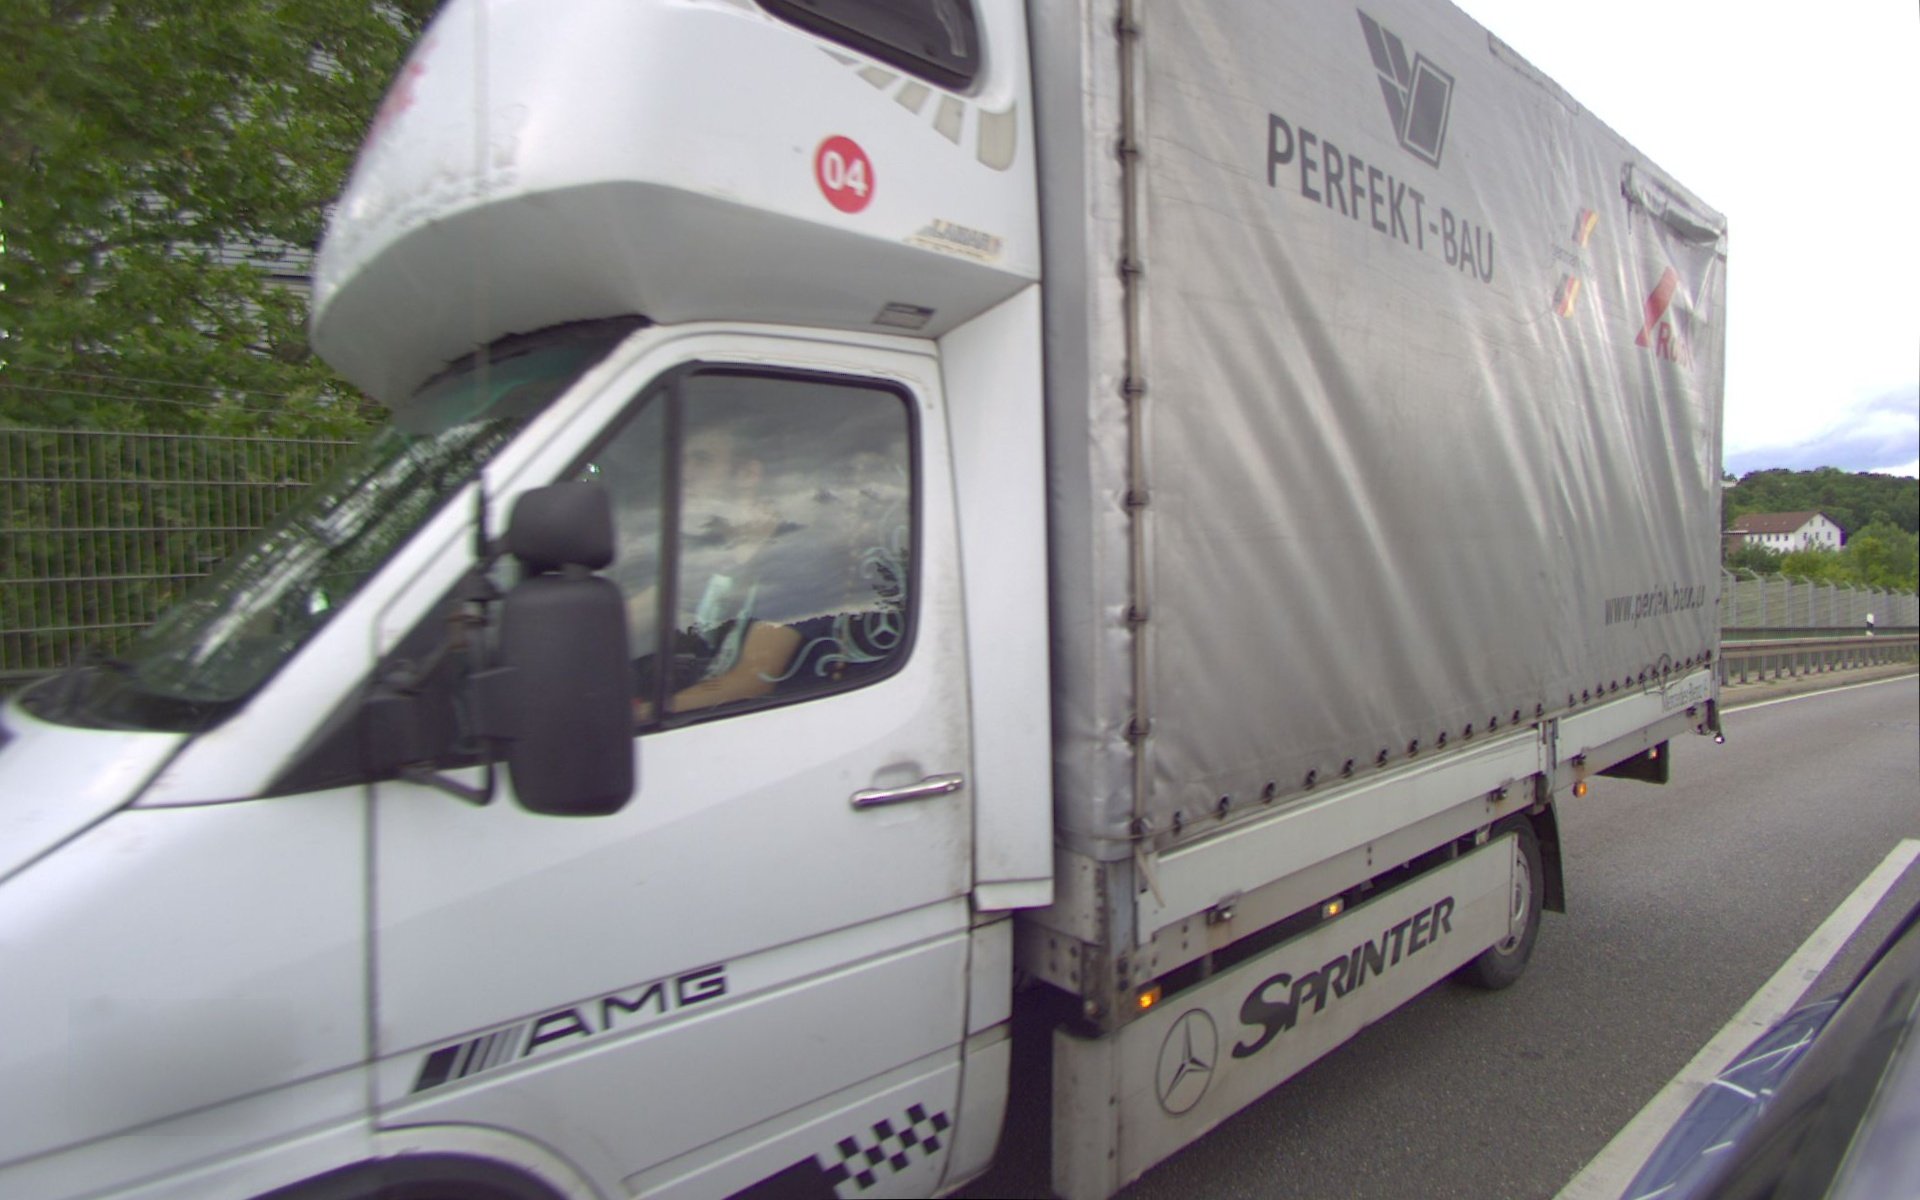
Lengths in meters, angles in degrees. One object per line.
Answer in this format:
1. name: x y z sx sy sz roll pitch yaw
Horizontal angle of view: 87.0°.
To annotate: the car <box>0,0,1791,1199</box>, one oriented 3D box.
1. car: 0.647 -0.292 3.796 6.966 3.371 2.664 -1 1 -41
